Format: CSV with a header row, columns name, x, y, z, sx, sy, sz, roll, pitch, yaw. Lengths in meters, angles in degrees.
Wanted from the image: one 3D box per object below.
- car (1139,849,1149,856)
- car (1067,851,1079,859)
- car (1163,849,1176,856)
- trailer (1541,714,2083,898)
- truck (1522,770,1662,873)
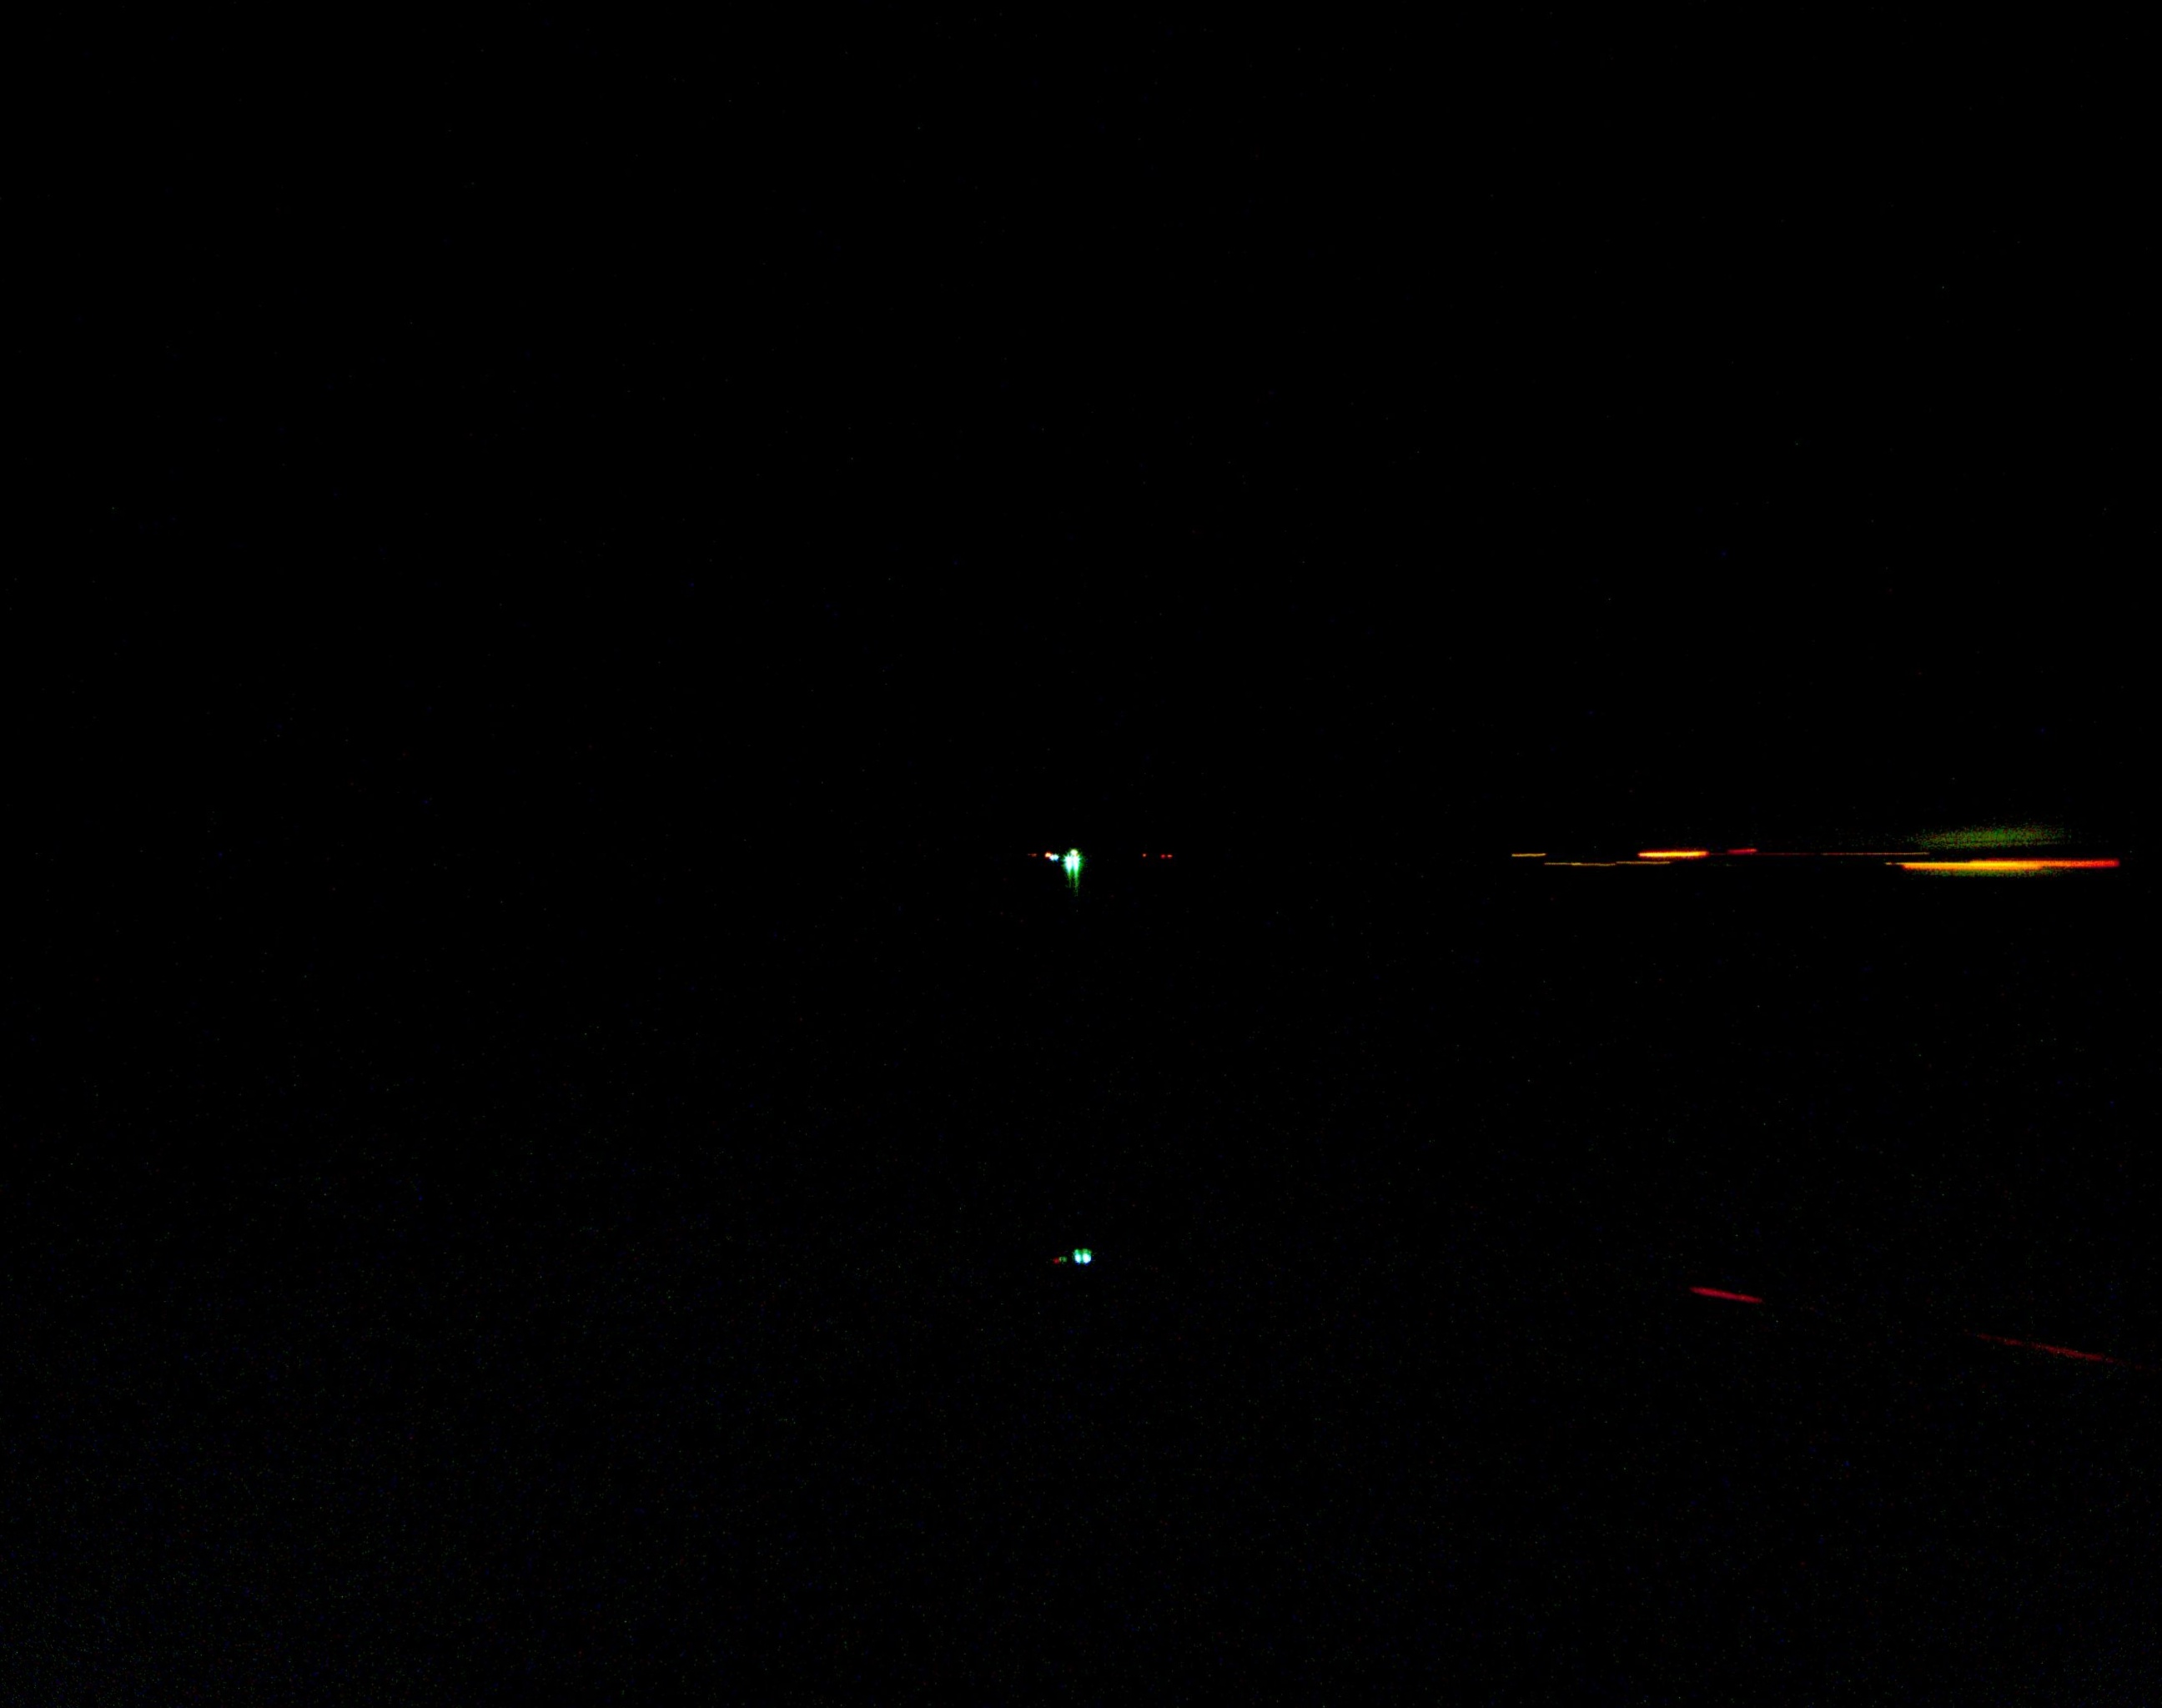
name,x,y,z,sx,sy,sz,roll,pitch,yaw
car,16.047,-0.303,193.262,1.999,1.641,4.398,-2,1,-1
car,-1.573,0.193,147.042,2.155,1.558,4.579,-2,1,-3
car,17.826,-0.338,153.023,1.999,1.324,4.398,-2,1,-1
trailer,22.264,-1.259,26.345,2.695,4.194,17.252,-2,1,2
truck,22.524,-1.377,33.869,2.720,4.175,5.420,-2,1,2
